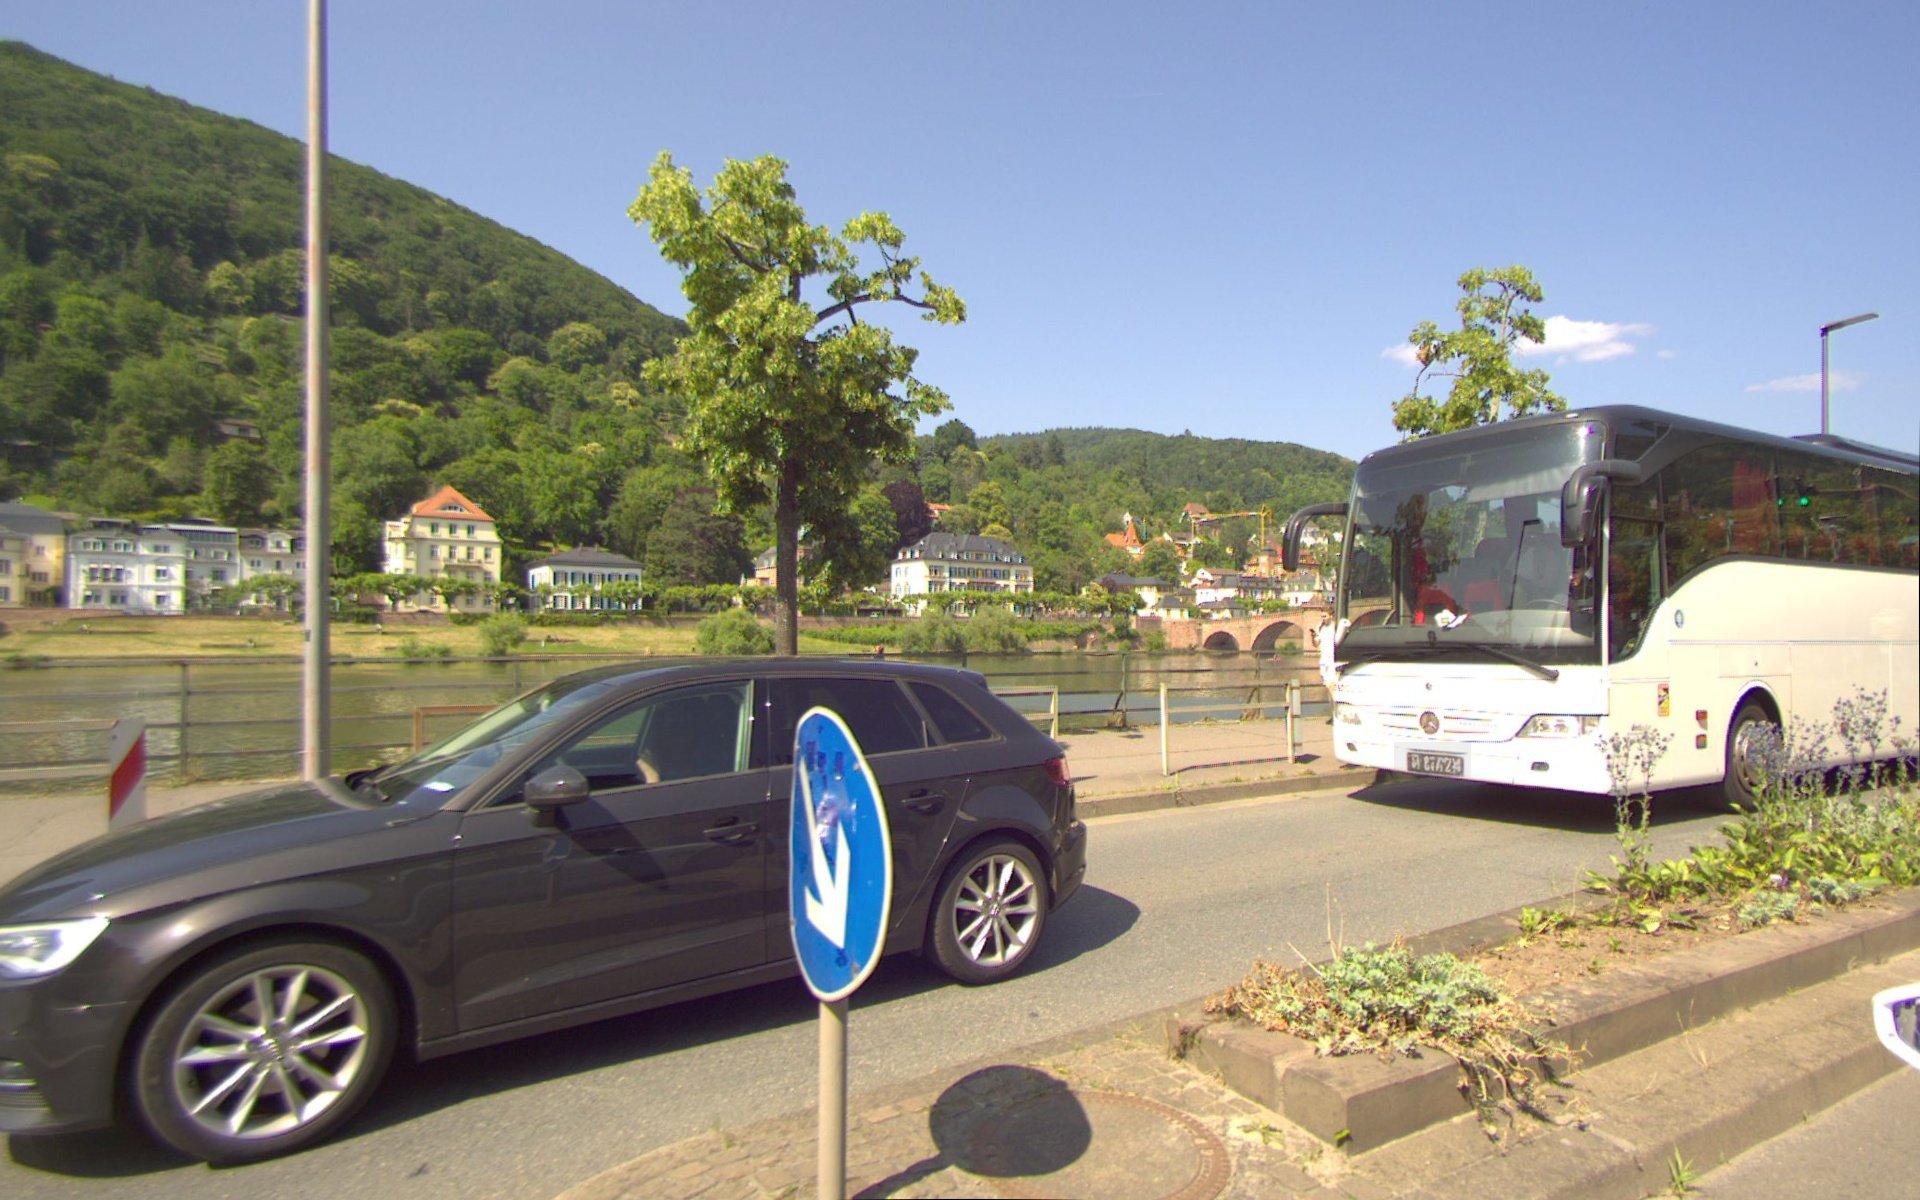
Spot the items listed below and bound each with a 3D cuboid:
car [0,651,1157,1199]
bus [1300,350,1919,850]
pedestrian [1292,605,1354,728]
[{"bbox_3d":[-1.281,0.983,4.358,4.150,1.448,1.806,1,-3,-34],"label":"car"},{"bbox_3d":[9.410,0.225,11.604,12.829,3.610,2.619,2,-3,-30],"label":"bus"},{"bbox_3d":[5.505,0.991,15.247,0.655,1.804,0.617,1,-1,-33],"label":"pedestrian"}]
